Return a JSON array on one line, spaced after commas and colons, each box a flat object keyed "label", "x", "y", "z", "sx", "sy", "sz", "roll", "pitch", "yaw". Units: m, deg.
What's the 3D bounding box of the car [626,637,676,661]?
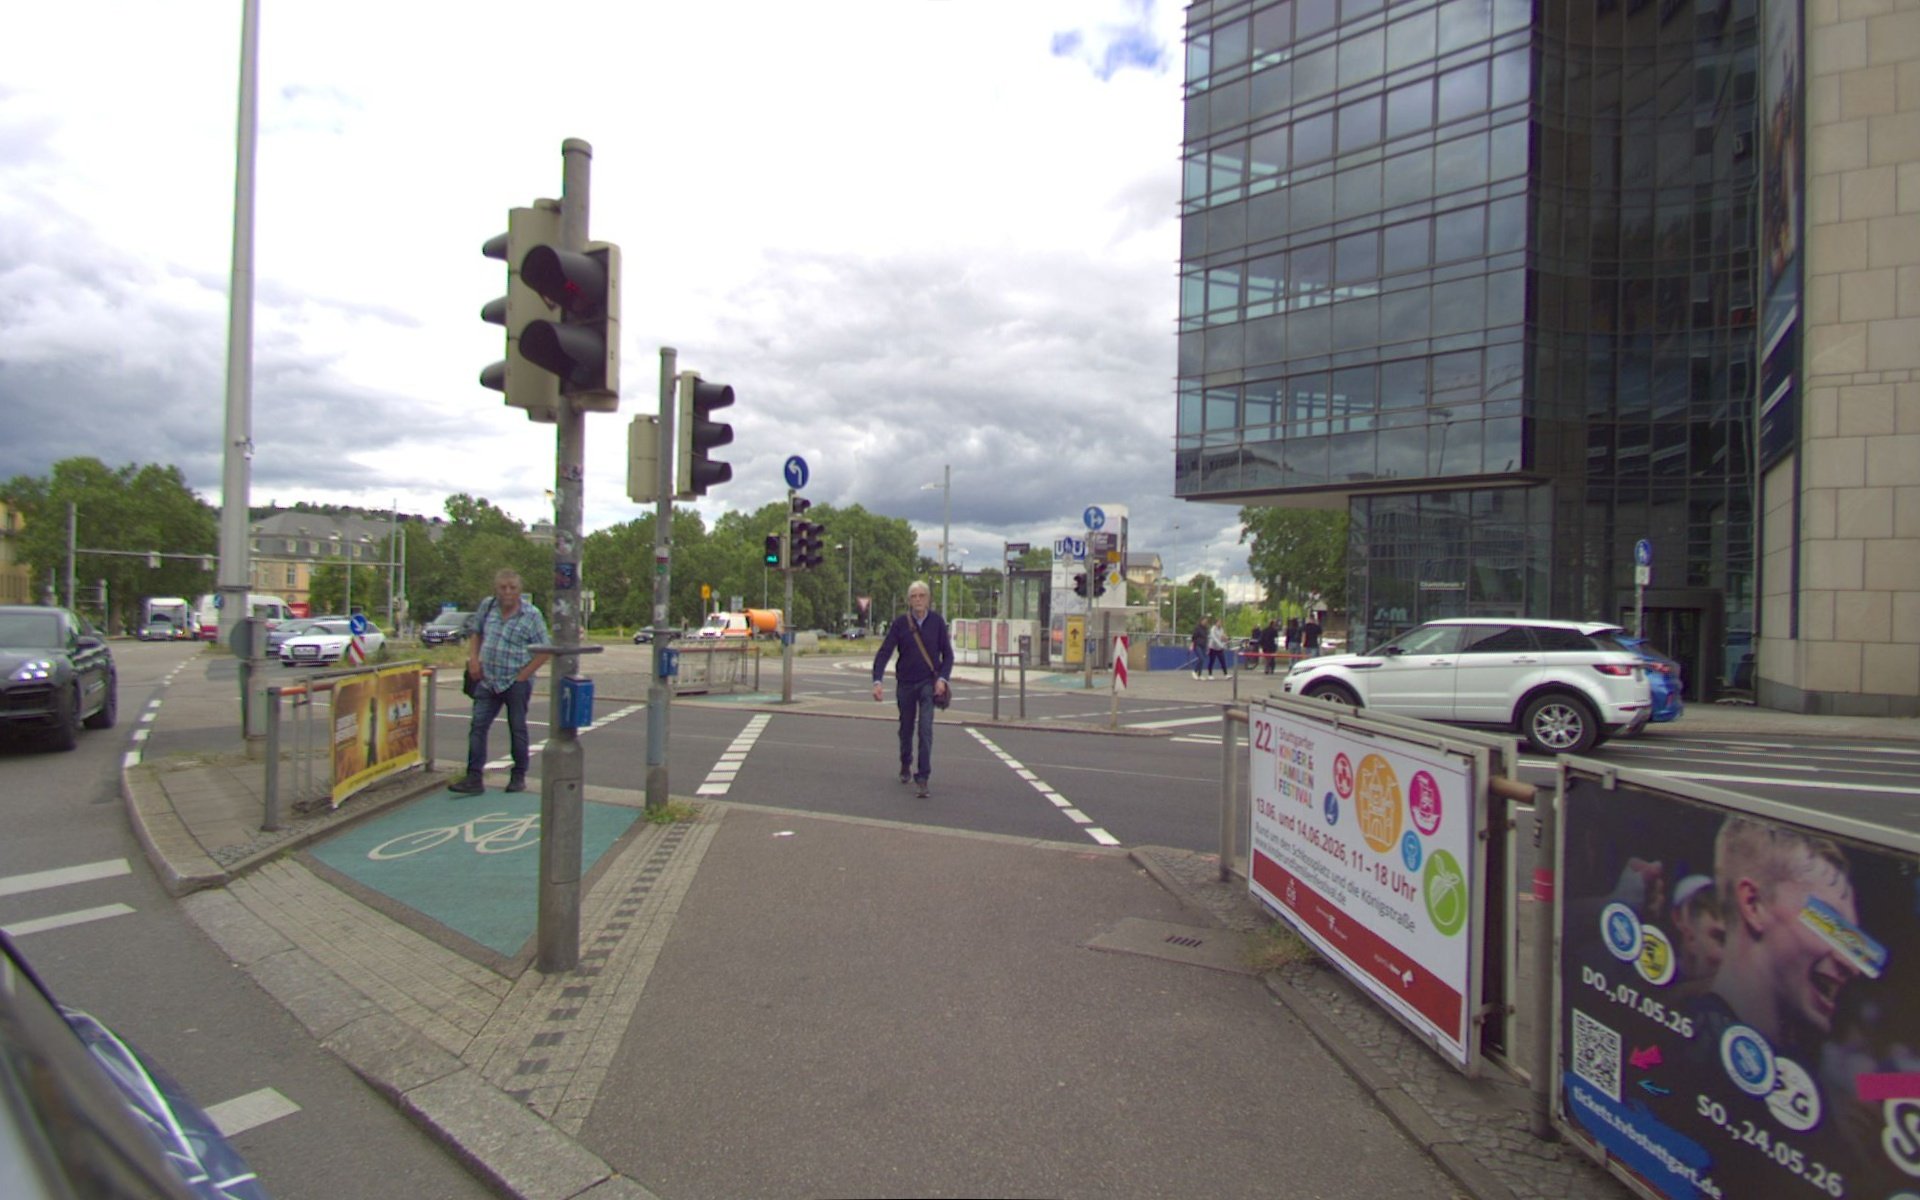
[{"label": "car", "x": -23.788, "y": 3.757, "z": 77.939, "sx": 1.846, "sy": 1.752, "sz": 3.716, "roll": 0, "pitch": -2, "yaw": 19}]

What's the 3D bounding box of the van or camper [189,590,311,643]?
[{"label": "van or camper", "x": -35.961, "y": 0.888, "z": 51.533, "sx": 2.115, "sy": 2.496, "sz": 6.164, "roll": -1, "pitch": -2, "yaw": -3}]

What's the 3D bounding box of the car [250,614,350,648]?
[{"label": "car", "x": -31.630, "y": 1.470, "z": 48.657, "sx": 1.920, "sy": 1.494, "sz": 4.629, "roll": -2, "pitch": -2, "yaw": -2}]

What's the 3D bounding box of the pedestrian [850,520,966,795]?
[{"label": "pedestrian", "x": -0.421, "y": 0.469, "z": 8.589, "sx": 0.755, "sy": 2.189, "sz": 0.875, "roll": 0, "pitch": -2, "yaw": 14}]

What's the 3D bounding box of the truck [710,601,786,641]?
[{"label": "truck", "x": -20.237, "y": 2.118, "z": 97.293, "sx": 2.708, "sy": 3.644, "sz": 9.117, "roll": 0, "pitch": -2, "yaw": 20}]

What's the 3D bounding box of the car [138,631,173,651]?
[{"label": "car", "x": -59.060, "y": 2.997, "z": 74.349, "sx": 1.799, "sy": 1.419, "sz": 4.009, "roll": 2, "pitch": -2, "yaw": -36}]

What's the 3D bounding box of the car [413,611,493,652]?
[{"label": "car", "x": -26.145, "y": 1.625, "z": 52.398, "sx": 1.834, "sy": 2.003, "sz": 4.642, "roll": 1, "pitch": -2, "yaw": -1}]

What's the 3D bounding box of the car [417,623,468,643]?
[{"label": "car", "x": -38.290, "y": 2.426, "z": 75.019, "sx": 1.733, "sy": 1.343, "sz": 4.416, "roll": -1, "pitch": -1, "yaw": -4}]

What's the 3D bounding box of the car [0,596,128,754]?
[{"label": "car", "x": -11.834, "y": 0.844, "z": 12.417, "sx": 1.972, "sy": 1.651, "sz": 5.034, "roll": 1, "pitch": -2, "yaw": -34}]

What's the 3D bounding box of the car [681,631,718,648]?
[{"label": "car", "x": -24.518, "y": 3.699, "z": 95.378, "sx": 1.764, "sy": 1.475, "sz": 3.560, "roll": -1, "pitch": -1, "yaw": 20}]

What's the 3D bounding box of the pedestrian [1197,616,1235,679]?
[{"label": "pedestrian", "x": 6.911, "y": 1.273, "z": 27.312, "sx": 0.595, "sy": 1.643, "sz": 0.789, "roll": -1, "pitch": 2, "yaw": -35}]

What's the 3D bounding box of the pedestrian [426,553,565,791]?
[{"label": "pedestrian", "x": -3.721, "y": 0.579, "z": 8.140, "sx": 0.632, "sy": 1.804, "sz": 0.710, "roll": -3, "pitch": -6, "yaw": 32}]

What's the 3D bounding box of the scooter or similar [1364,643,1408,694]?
[{"label": "scooter or similar", "x": 10.706, "y": 1.714, "z": 25.495, "sx": 0.526, "sy": 1.217, "sz": 1.385, "roll": 0, "pitch": -2, "yaw": 1}]

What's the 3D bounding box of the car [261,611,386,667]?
[{"label": "car", "x": -20.573, "y": 1.288, "z": 32.964, "sx": 2.062, "sy": 1.621, "sz": 4.422, "roll": -2, "pitch": -2, "yaw": -13}]

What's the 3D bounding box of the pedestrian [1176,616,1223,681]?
[{"label": "pedestrian", "x": 6.279, "y": 1.249, "z": 26.538, "sx": 0.644, "sy": 1.625, "sz": 0.968, "roll": 1, "pitch": 1, "yaw": -35}]

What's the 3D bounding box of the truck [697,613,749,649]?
[{"label": "truck", "x": -19.484, "y": 2.595, "z": 83.431, "sx": 1.936, "sy": 2.805, "sz": 5.768, "roll": 0, "pitch": -2, "yaw": 11}]

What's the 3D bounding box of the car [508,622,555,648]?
[{"label": "car", "x": -35.286, "y": 2.907, "z": 83.527, "sx": 1.970, "sy": 1.516, "sz": 5.042, "roll": 0, "pitch": -9, "yaw": -3}]

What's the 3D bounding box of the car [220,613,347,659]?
[{"label": "car", "x": -25.441, "y": 1.347, "z": 38.224, "sx": 1.974, "sy": 1.614, "sz": 3.995, "roll": 0, "pitch": -2, "yaw": 4}]

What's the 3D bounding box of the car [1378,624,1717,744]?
[{"label": "car", "x": 8.568, "y": 1.141, "z": 14.997, "sx": 4.080, "sy": 1.537, "sz": 1.977, "roll": -1, "pitch": -2, "yaw": 34}]

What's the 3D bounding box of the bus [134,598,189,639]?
[{"label": "bus", "x": -66.929, "y": 1.581, "z": 84.884, "sx": 3.380, "sy": 3.228, "sz": 13.088, "roll": 1, "pitch": -2, "yaw": -38}]

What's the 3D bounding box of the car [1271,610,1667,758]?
[{"label": "car", "x": 6.442, "y": 0.979, "z": 13.101, "sx": 4.315, "sy": 1.611, "sz": 1.717, "roll": -1, "pitch": -2, "yaw": 40}]

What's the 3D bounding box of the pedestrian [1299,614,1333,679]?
[{"label": "pedestrian", "x": 10.108, "y": 1.319, "z": 28.765, "sx": 0.688, "sy": 1.824, "sz": 0.930, "roll": 0, "pitch": -2, "yaw": 7}]

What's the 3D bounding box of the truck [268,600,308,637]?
[{"label": "truck", "x": -66.217, "y": 1.882, "z": 99.652, "sx": 2.746, "sy": 3.516, "sz": 8.368, "roll": 2, "pitch": -3, "yaw": -37}]

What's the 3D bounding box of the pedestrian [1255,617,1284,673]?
[{"label": "pedestrian", "x": 9.647, "y": 1.404, "z": 31.540, "sx": 0.631, "sy": 1.713, "sz": 0.760, "roll": -1, "pitch": -2, "yaw": 36}]

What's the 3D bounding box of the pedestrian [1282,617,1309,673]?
[{"label": "pedestrian", "x": 10.375, "y": 1.394, "z": 31.307, "sx": 0.631, "sy": 1.713, "sz": 0.636, "roll": -1, "pitch": -2, "yaw": 36}]

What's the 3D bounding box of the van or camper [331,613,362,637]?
[{"label": "van or camper", "x": -51.147, "y": 2.085, "z": 84.331, "sx": 1.835, "sy": 1.931, "sz": 4.724, "roll": 1, "pitch": -2, "yaw": -36}]

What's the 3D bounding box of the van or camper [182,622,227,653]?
[{"label": "van or camper", "x": -57.371, "y": 2.860, "z": 76.992, "sx": 2.335, "sy": 2.280, "sz": 6.304, "roll": 2, "pitch": -3, "yaw": -34}]
